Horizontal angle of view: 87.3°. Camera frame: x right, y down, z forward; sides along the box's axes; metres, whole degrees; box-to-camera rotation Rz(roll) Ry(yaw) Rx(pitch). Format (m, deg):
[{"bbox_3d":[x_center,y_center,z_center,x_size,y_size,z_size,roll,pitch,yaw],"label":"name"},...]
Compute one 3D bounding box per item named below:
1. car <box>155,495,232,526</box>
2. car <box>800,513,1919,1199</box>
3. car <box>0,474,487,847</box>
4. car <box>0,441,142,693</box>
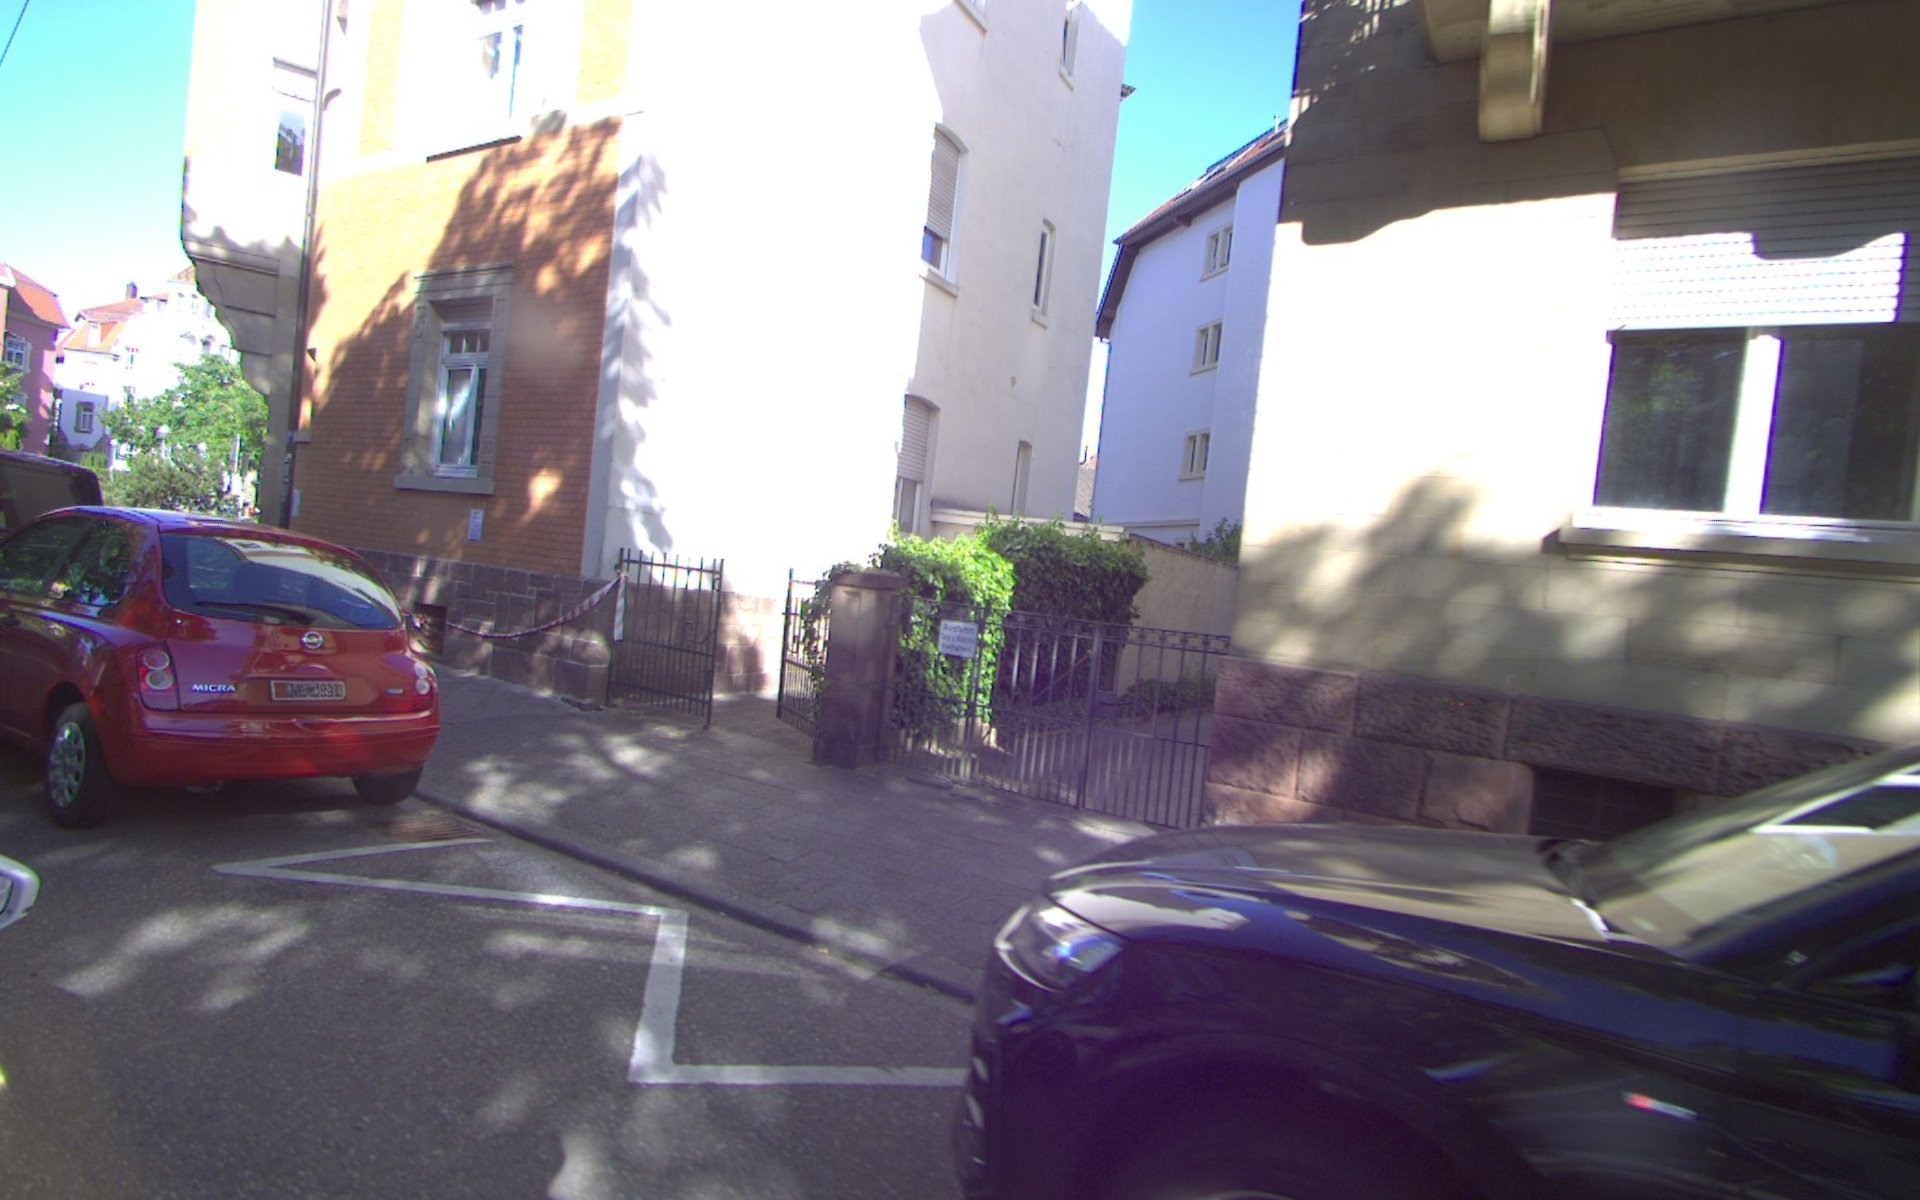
[{"bbox_3d":[-47.816,-5.567,62.850,1.531,1.474,3.976,6,1,4],"label":"car"},{"bbox_3d":[2.099,0.959,1.777,4.414,1.663,1.868,7,-1,29],"label":"car"},{"bbox_3d":[-4.898,0.186,6.061,3.933,1.554,1.649,7,-2,31],"label":"car"},{"bbox_3d":[-9.179,-0.483,8.688,4.201,1.892,1.806,7,-2,31],"label":"car"}]
